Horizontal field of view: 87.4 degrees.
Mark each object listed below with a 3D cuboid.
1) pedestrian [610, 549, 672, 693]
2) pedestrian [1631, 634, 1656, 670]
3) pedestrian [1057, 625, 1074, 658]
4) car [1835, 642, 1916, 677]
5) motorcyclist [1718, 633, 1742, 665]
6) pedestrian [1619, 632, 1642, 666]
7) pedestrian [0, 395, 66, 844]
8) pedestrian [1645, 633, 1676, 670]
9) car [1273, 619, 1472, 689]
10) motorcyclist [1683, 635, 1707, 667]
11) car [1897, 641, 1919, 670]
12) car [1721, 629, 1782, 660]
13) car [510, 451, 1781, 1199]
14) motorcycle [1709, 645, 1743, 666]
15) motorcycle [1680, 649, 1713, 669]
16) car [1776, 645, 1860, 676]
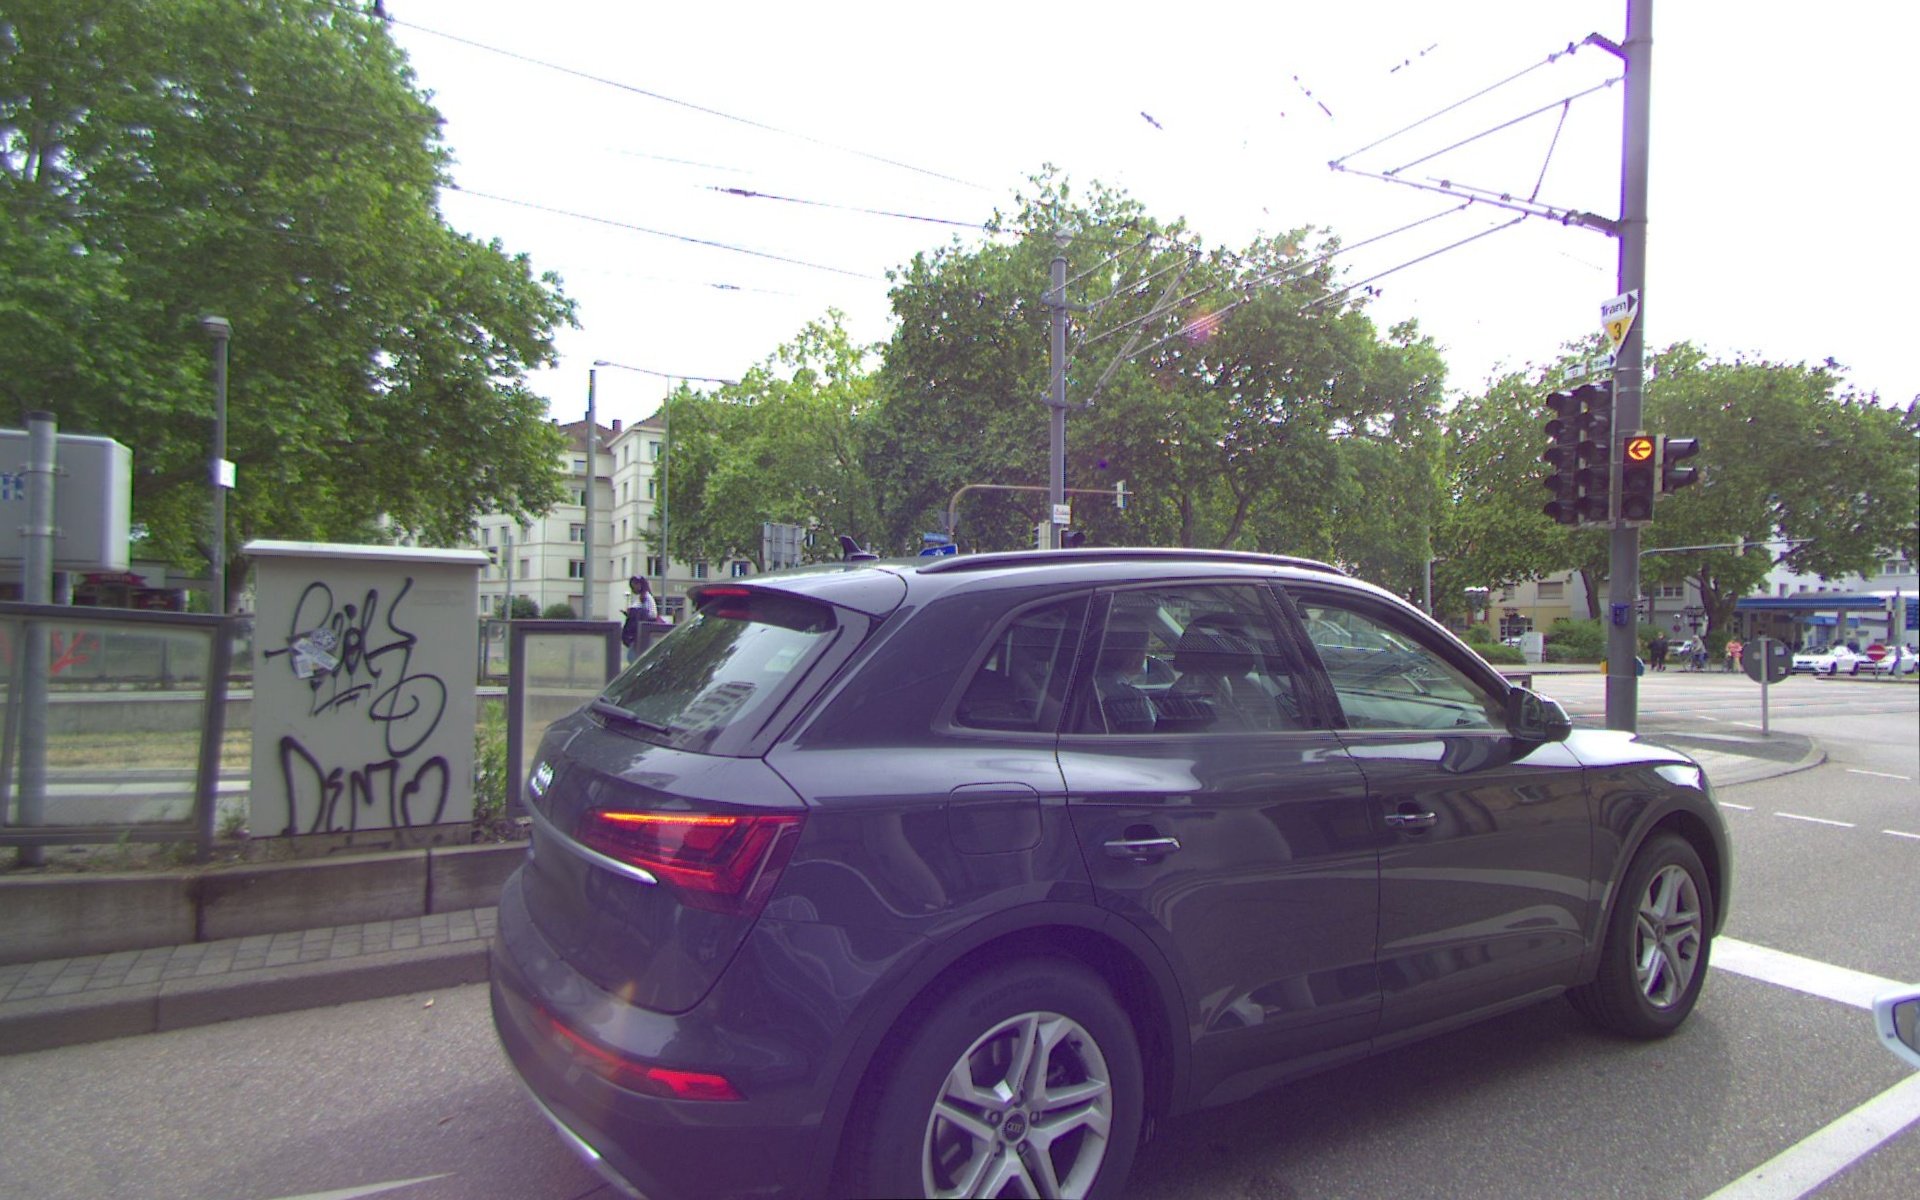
[{"bbox_3d":[-4.541,0.293,14.294,0.658,1.976,0.732,2,0,-30],"label":"pedestrian"},{"bbox_3d":[33.134,2.515,48.675,0.677,1.735,0.870,1,-1,8],"label":"pedestrian"},{"bbox_3d":[4.926,1.927,46.936,0.644,1.530,0.683,1,-1,-3],"label":"pedestrian"},{"bbox_3d":[46.984,3.027,51.519,3.953,1.615,1.984,2,0,-30],"label":"car"},{"bbox_3d":[37.241,2.371,48.570,0.863,1.540,0.617,2,-1,-30],"label":"motorcyclist"},{"bbox_3d":[34.695,2.514,51.991,0.732,1.713,0.681,2,0,-25],"label":"pedestrian"},{"bbox_3d":[-4.177,0.068,3.824,0.967,1.692,0.716,2,0,-27],"label":"pedestrian"},{"bbox_3d":[33.947,2.472,48.681,0.858,1.735,0.874,1,-1,0],"label":"pedestrian"},{"bbox_3d":[10.743,1.354,26.284,4.464,1.584,1.993,1,-1,37],"label":"car"},{"bbox_3d":[35.810,2.487,48.944,0.863,1.540,0.617,2,-1,-30],"label":"motorcyclist"},{"bbox_3d":[52.787,3.038,54.602,3.593,1.497,1.649,2,0,-29],"label":"car"},{"bbox_3d":[54.578,3.093,69.272,3.953,2.040,1.984,2,-1,-30],"label":"car"},{"bbox_3d":[0.833,0.637,3.456,4.177,1.658,1.725,2,0,-30],"label":"car"},{"bbox_3d":[36.935,2.672,48.431,1.928,0.941,0.604,2,-1,-30],"label":"motorcycle"},{"bbox_3d":[35.950,2.866,49.026,1.928,0.941,0.604,2,-1,-30],"label":"motorcycle"},{"bbox_3d":[41.349,2.912,48.389,4.025,1.338,1.739,2,0,-29],"label":"car"}]
